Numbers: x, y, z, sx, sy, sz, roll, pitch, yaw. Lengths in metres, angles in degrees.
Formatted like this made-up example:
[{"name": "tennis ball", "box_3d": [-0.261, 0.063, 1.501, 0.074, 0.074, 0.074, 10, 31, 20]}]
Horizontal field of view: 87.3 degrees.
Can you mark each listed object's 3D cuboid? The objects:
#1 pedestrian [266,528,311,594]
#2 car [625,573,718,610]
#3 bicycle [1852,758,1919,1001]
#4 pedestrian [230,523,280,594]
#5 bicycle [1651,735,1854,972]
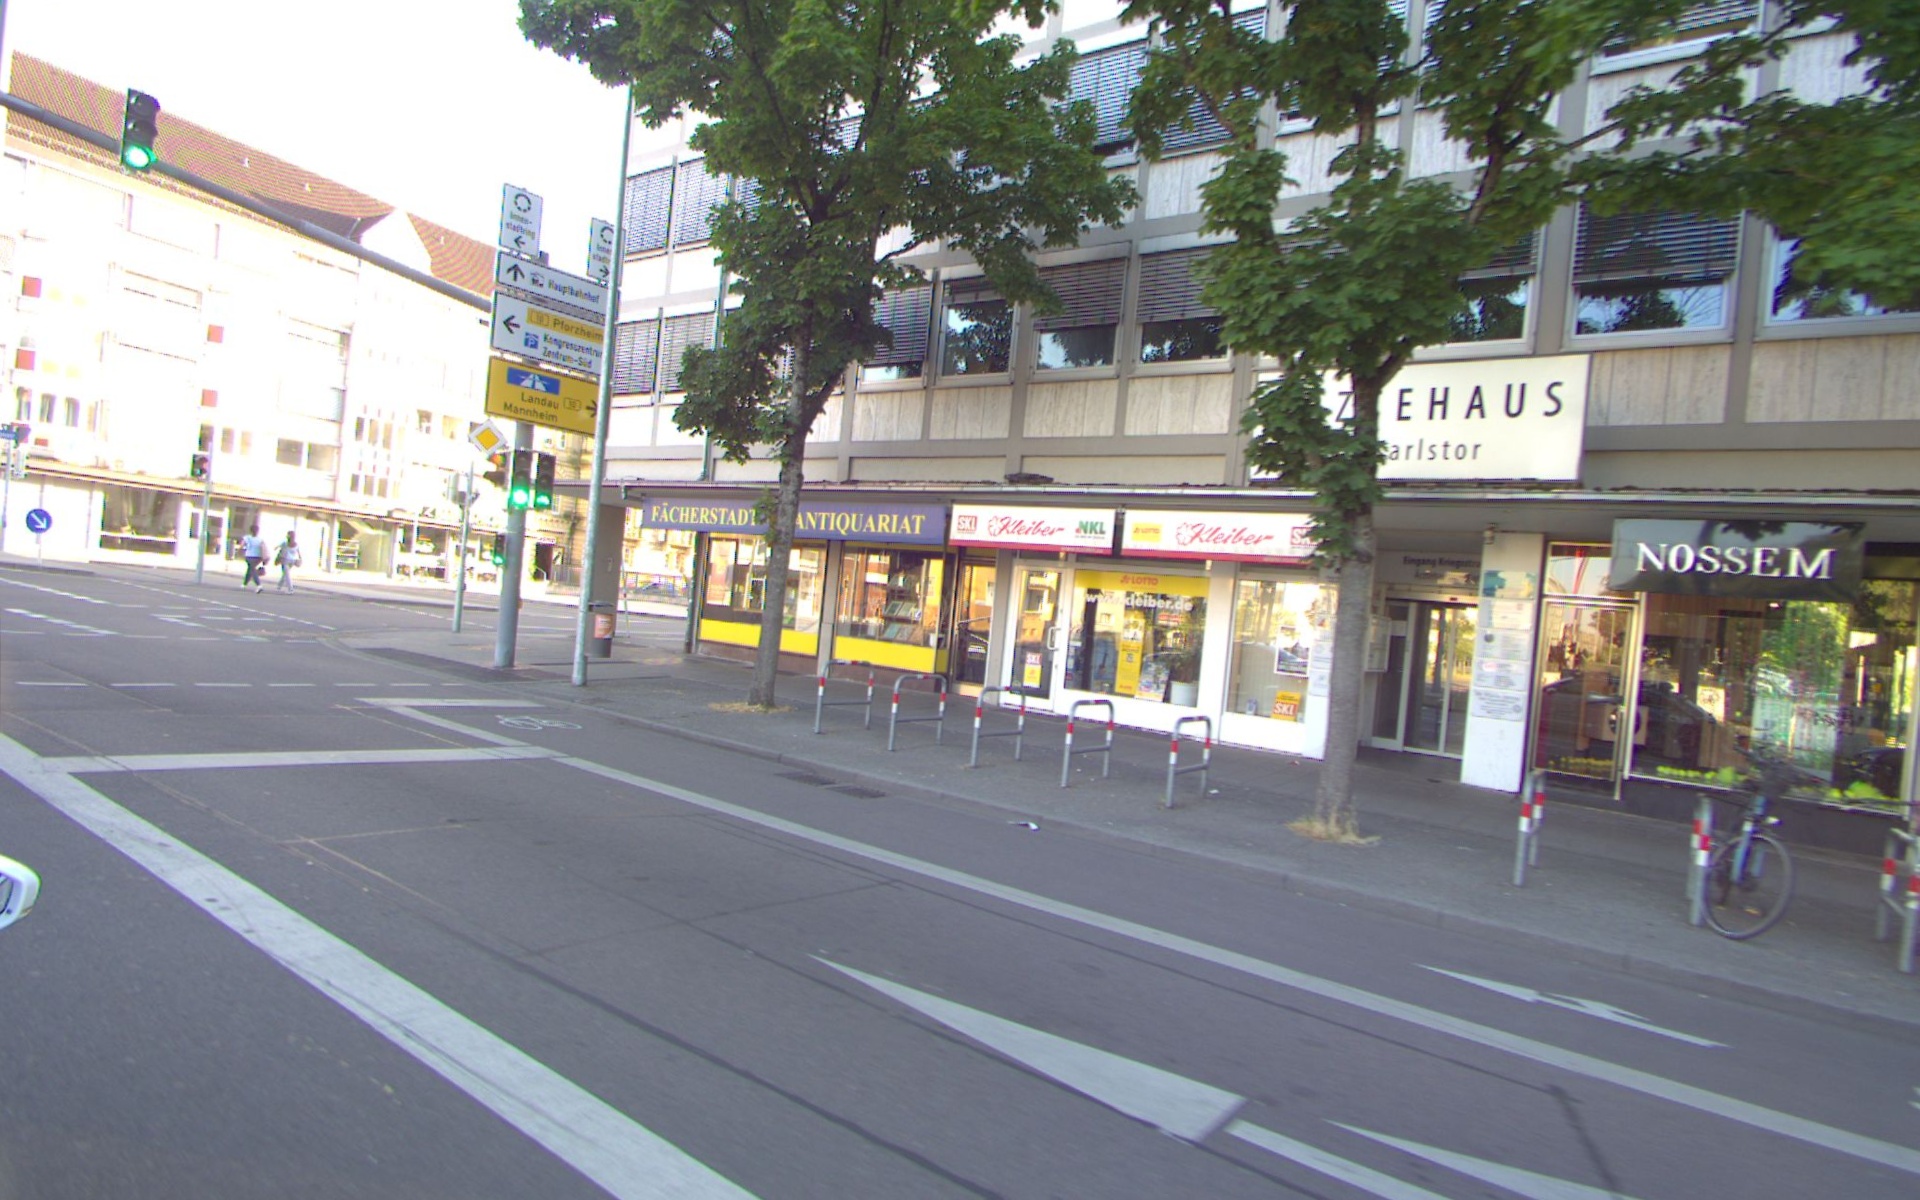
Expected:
[{"name": "pedestrian", "box_3d": [-17.457, -1.006, 26.171, 0.695, 1.602, 0.822, 5, 1, -20]}, {"name": "car", "box_3d": [-16.293, -0.460, 56.991, 2.190, 1.575, 4.593, 6, 0, 39]}, {"name": "bicycle", "box_3d": [5.888, 1.645, 6.025, 0.530, 1.200, 1.631, 6, 1, 35]}, {"name": "pedestrian", "box_3d": [-17.648, -1.025, 25.196, 0.716, 1.670, 0.768, 5, 1, -20]}, {"name": "bicycle", "box_3d": [5.237, 1.600, 6.768, 0.655, 1.155, 1.742, 6, 1, 27]}]
